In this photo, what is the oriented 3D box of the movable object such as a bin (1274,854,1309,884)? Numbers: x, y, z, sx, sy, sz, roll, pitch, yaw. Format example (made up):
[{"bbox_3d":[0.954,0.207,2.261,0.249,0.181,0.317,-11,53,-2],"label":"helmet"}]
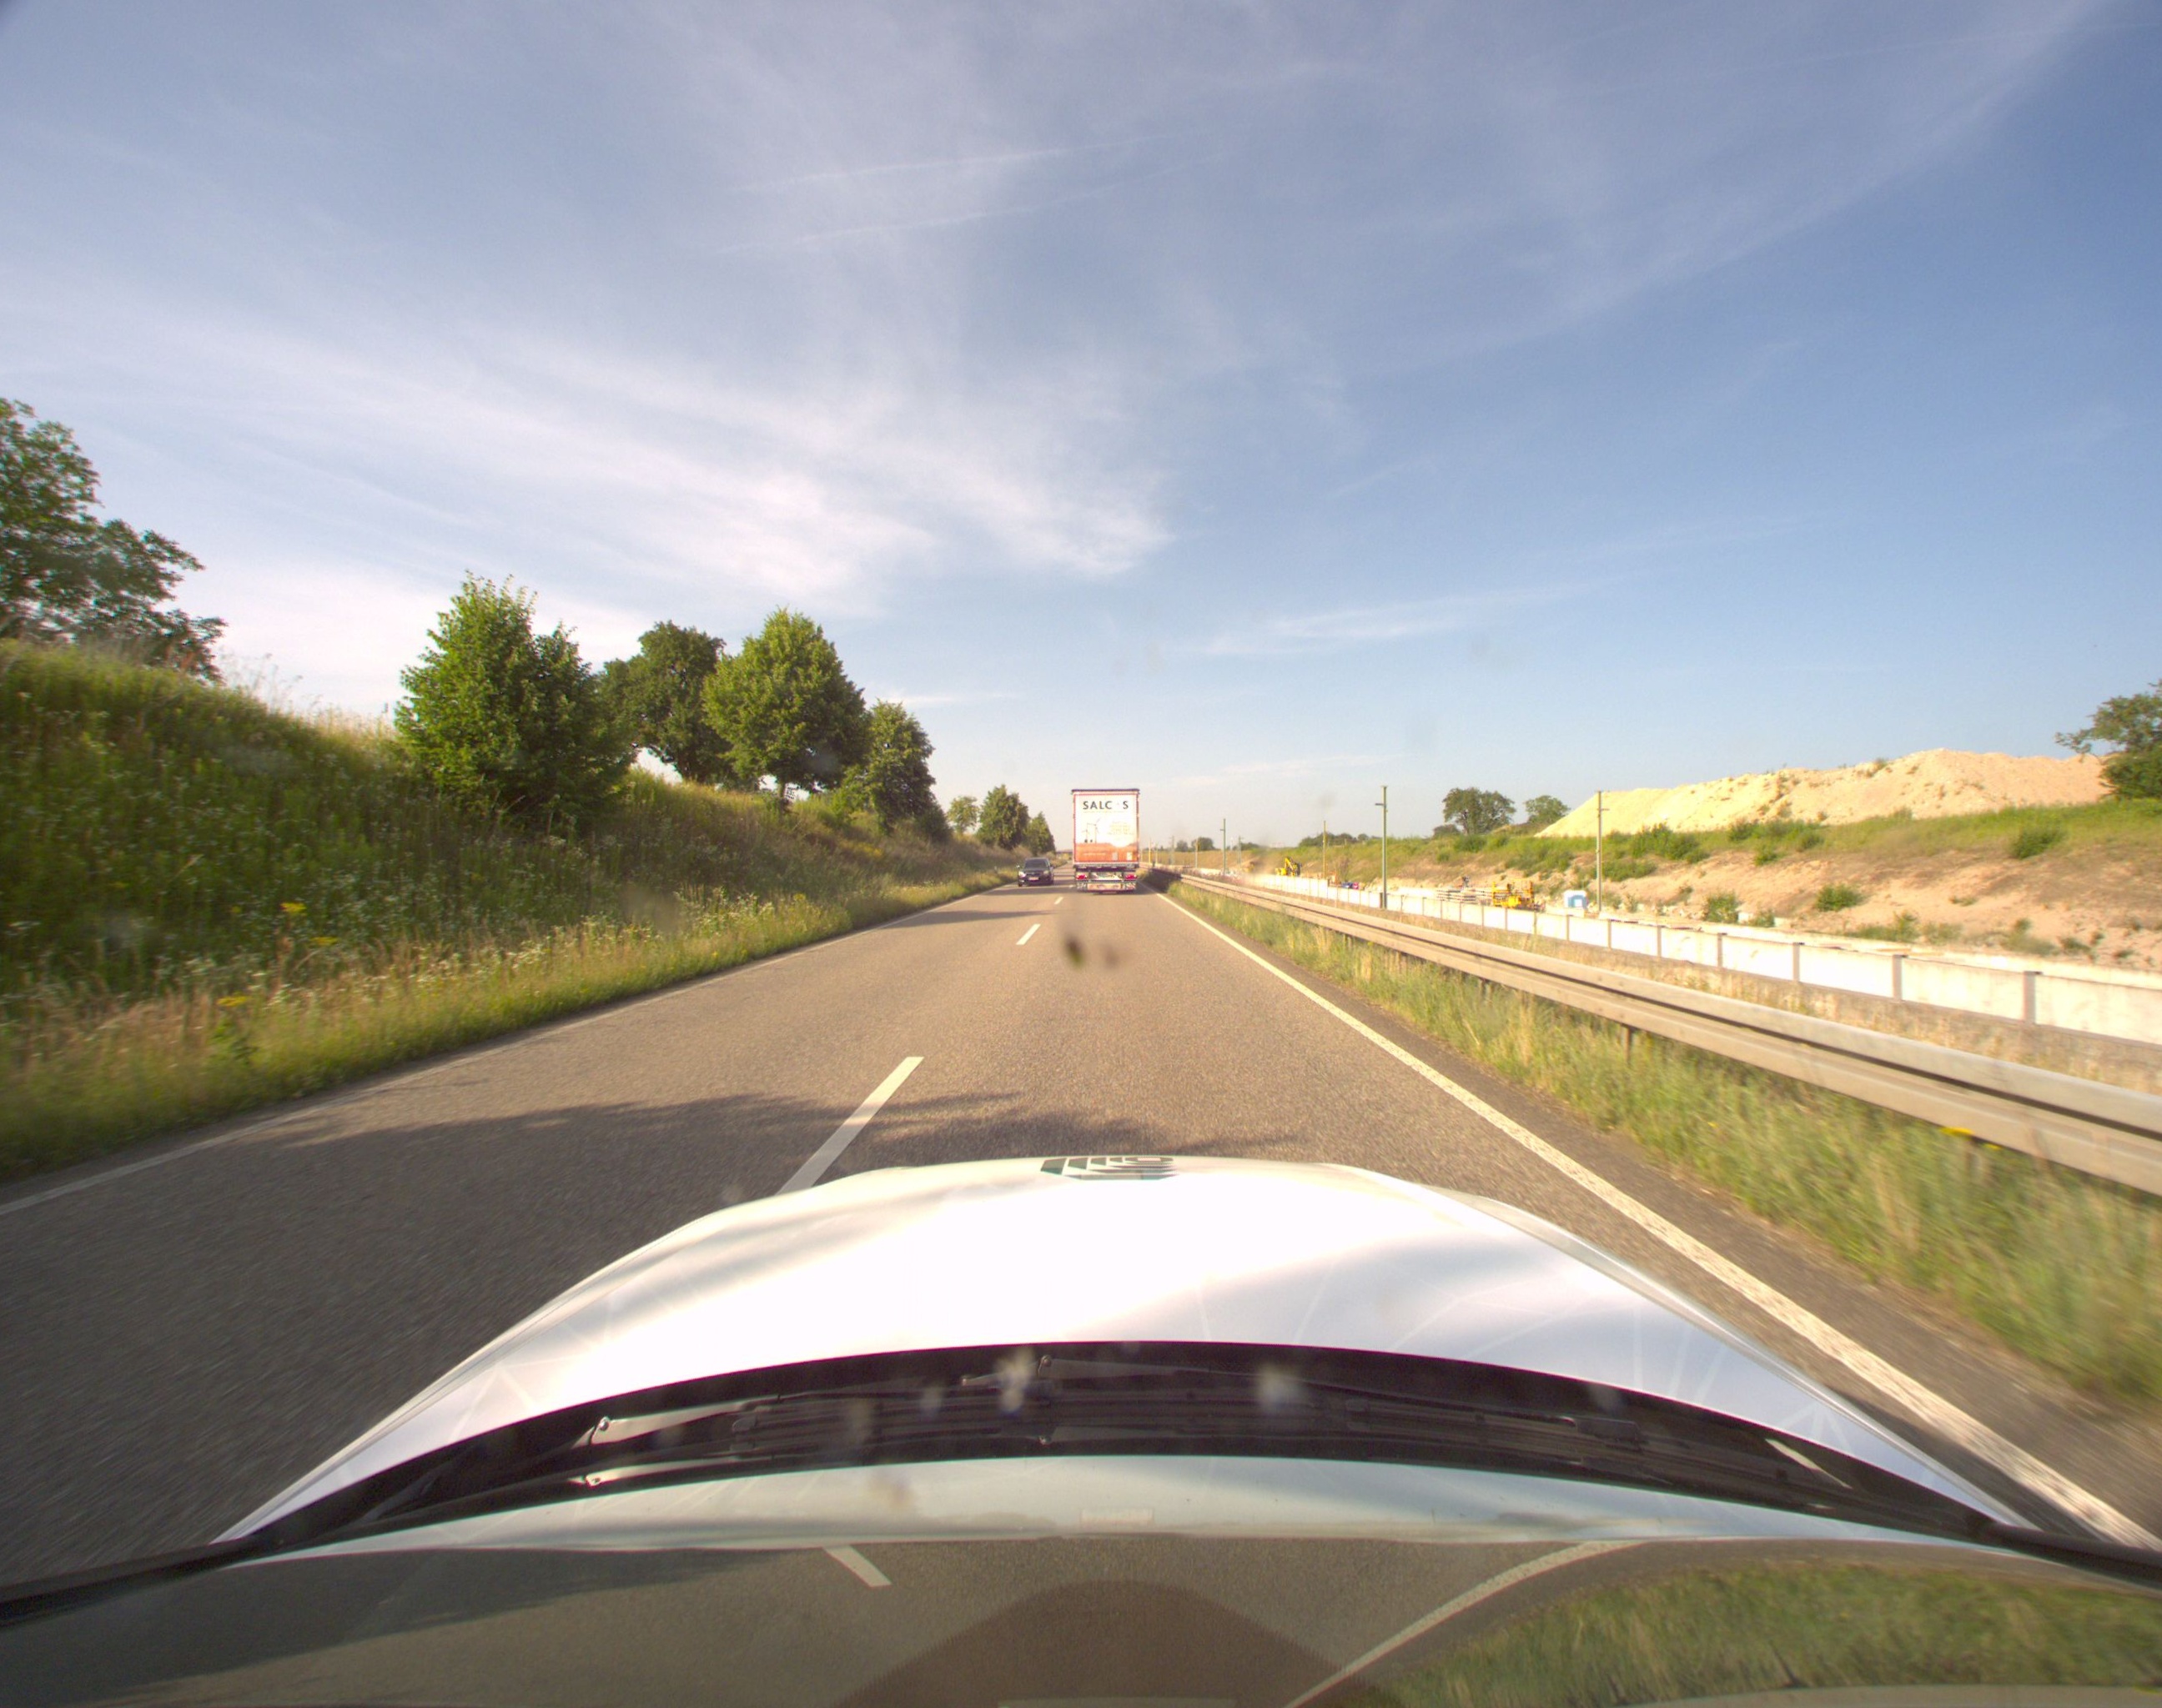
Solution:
[{"bbox_3d":[27.842,1.899,108.045,2.787,3.886,7.537,-1,0,0],"label":"movable object such as a bin"}]

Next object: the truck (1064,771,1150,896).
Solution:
[{"bbox_3d":[1.106,-0.789,35.167,3.141,4.688,8.444,-1,0,1],"label":"truck"}]

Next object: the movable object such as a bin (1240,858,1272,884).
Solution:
[{"bbox_3d":[23.394,2.190,109.263,2.613,3.239,8.073,-1,0,0],"label":"movable object such as a bin"}]

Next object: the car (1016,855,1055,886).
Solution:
[{"bbox_3d":[-2.391,0.841,43.770,1.737,1.546,4.312,-2,0,0],"label":"car"}]

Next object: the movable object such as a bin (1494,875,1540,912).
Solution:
[{"bbox_3d":[32.218,2.894,60.264,2.877,2.661,2.031,-1,0,26],"label":"movable object such as a bin"}]
